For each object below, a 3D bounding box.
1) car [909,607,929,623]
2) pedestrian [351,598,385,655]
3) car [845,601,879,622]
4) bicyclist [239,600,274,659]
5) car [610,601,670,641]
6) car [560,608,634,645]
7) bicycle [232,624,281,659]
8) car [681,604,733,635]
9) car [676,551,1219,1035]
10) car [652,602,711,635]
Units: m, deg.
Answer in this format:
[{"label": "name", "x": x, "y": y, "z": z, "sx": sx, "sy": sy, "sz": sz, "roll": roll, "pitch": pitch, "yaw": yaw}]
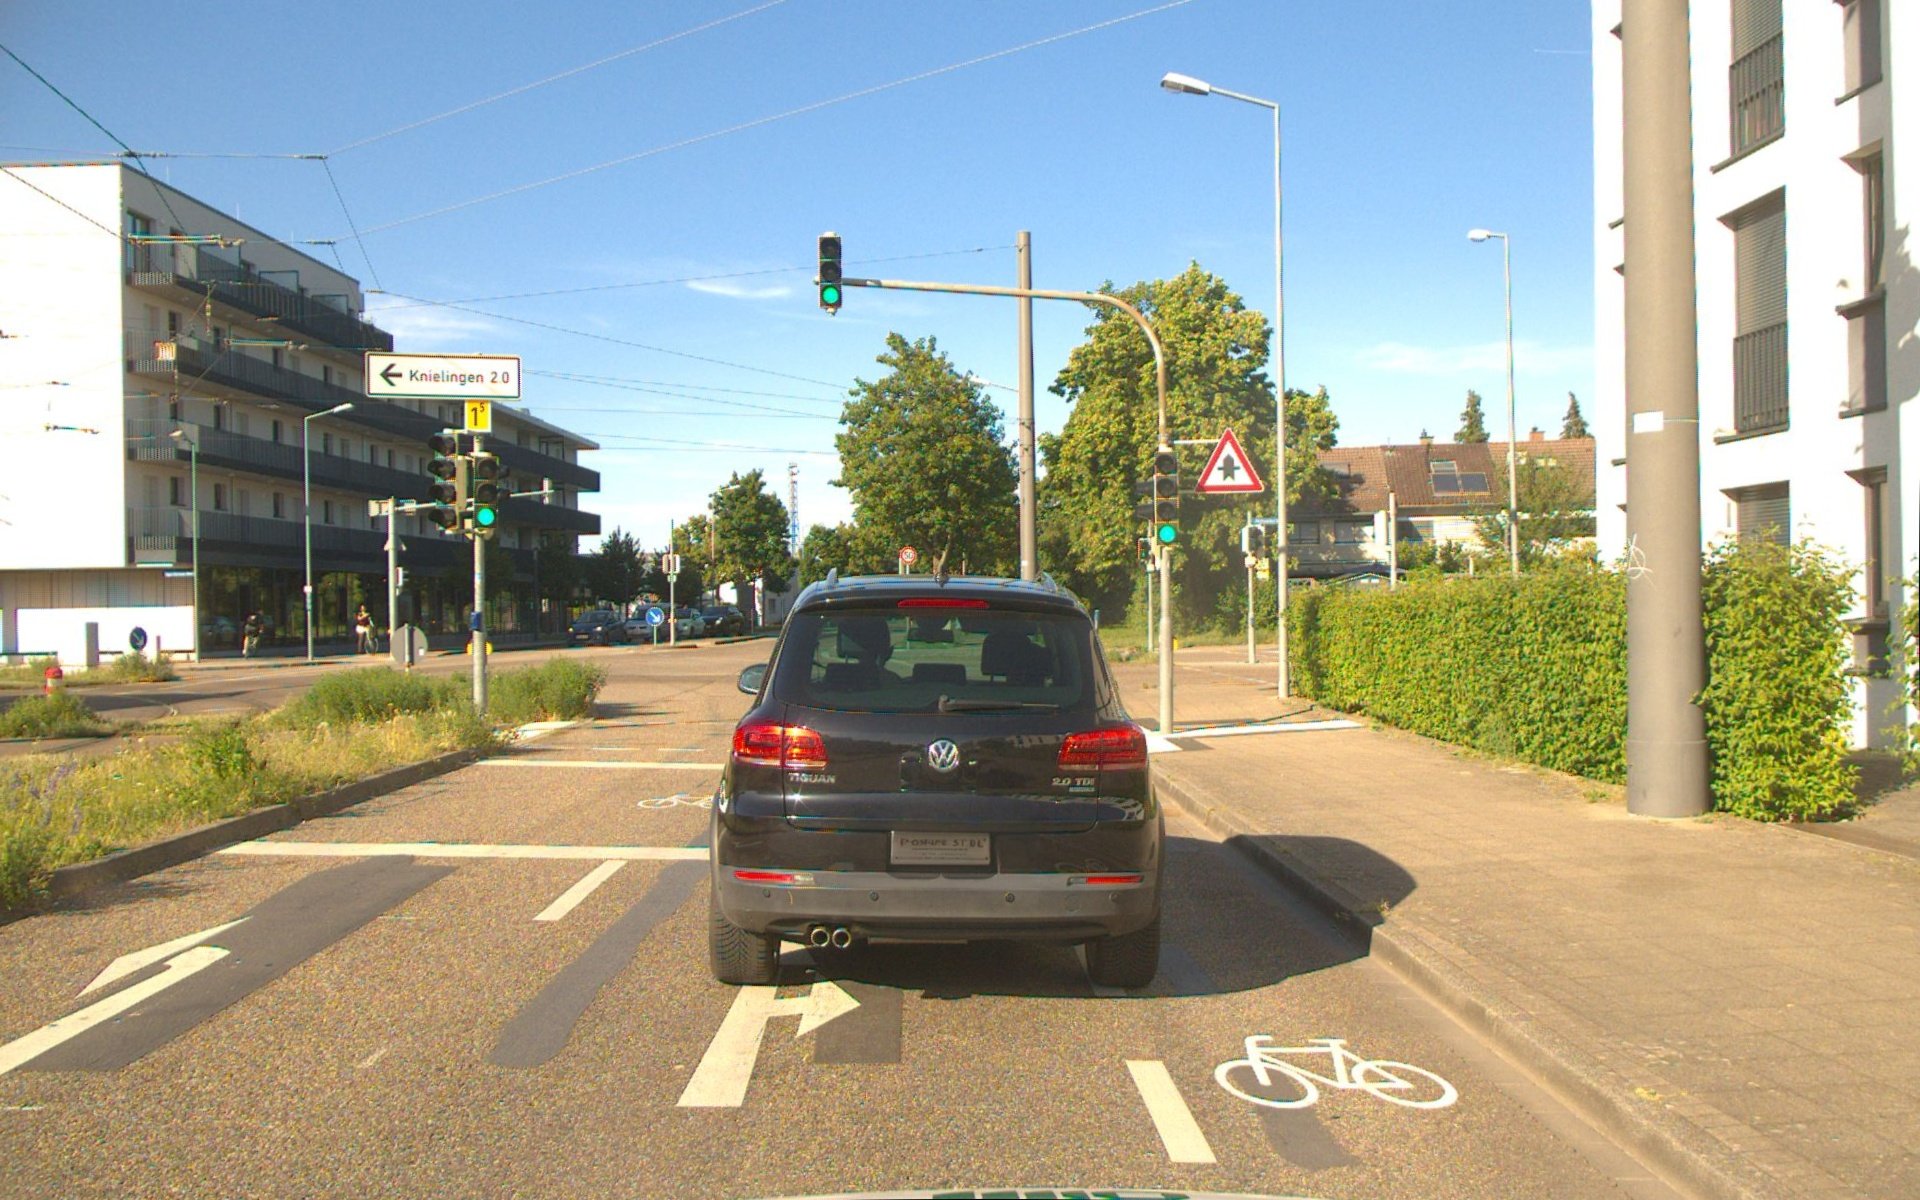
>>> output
[{"label": "car", "x": -4.637, "y": 1.683, "z": 186.397, "sx": 1.952, "sy": 1.768, "sz": 5.200, "roll": -1, "pitch": 0, "yaw": 1}, {"label": "pedestrian", "x": -21.699, "y": 0.966, "z": 60.617, "sx": 0.957, "sy": 2.049, "sz": 0.760, "roll": -1, "pitch": 0, "yaw": -3}, {"label": "car", "x": -7.733, "y": 0.896, "z": 130.420, "sx": 1.951, "sy": 1.599, "sz": 4.003, "roll": -1, "pitch": 0, "yaw": 7}, {"label": "bicyclist", "x": -24.710, "y": 1.031, "z": 58.095, "sx": 0.791, "sy": 2.049, "sz": 0.796, "roll": -1, "pitch": 0, "yaw": 15}, {"label": "car", "x": -15.049, "y": 0.987, "z": 77.975, "sx": 1.953, "sy": 1.786, "sz": 4.361, "roll": -1, "pitch": 0, "yaw": 0}, {"label": "car", "x": -15.389, "y": 1.100, "z": 70.281, "sx": 1.659, "sy": 1.482, "sz": 4.456, "roll": -1, "pitch": 0, "yaw": 7}, {"label": "bicycle", "x": -24.694, "y": 1.462, "z": 58.102, "sx": 0.727, "sy": 1.164, "sz": 1.644, "roll": -1, "pitch": 0, "yaw": 14}, {"label": "car", "x": -13.538, "y": 1.018, "z": 88.663, "sx": 1.926, "sy": 1.561, "sz": 4.741, "roll": -1, "pitch": 0, "yaw": 1}, {"label": "car", "x": -0.116, "y": 0.698, "z": 8.110, "sx": 1.890, "sy": 1.683, "sz": 4.512, "roll": 1, "pitch": 0, "yaw": -2}, {"label": "car", "x": -13.951, "y": 0.921, "z": 83.030, "sx": 1.951, "sy": 1.513, "sz": 3.546, "roll": -3, "pitch": 0, "yaw": 6}]
